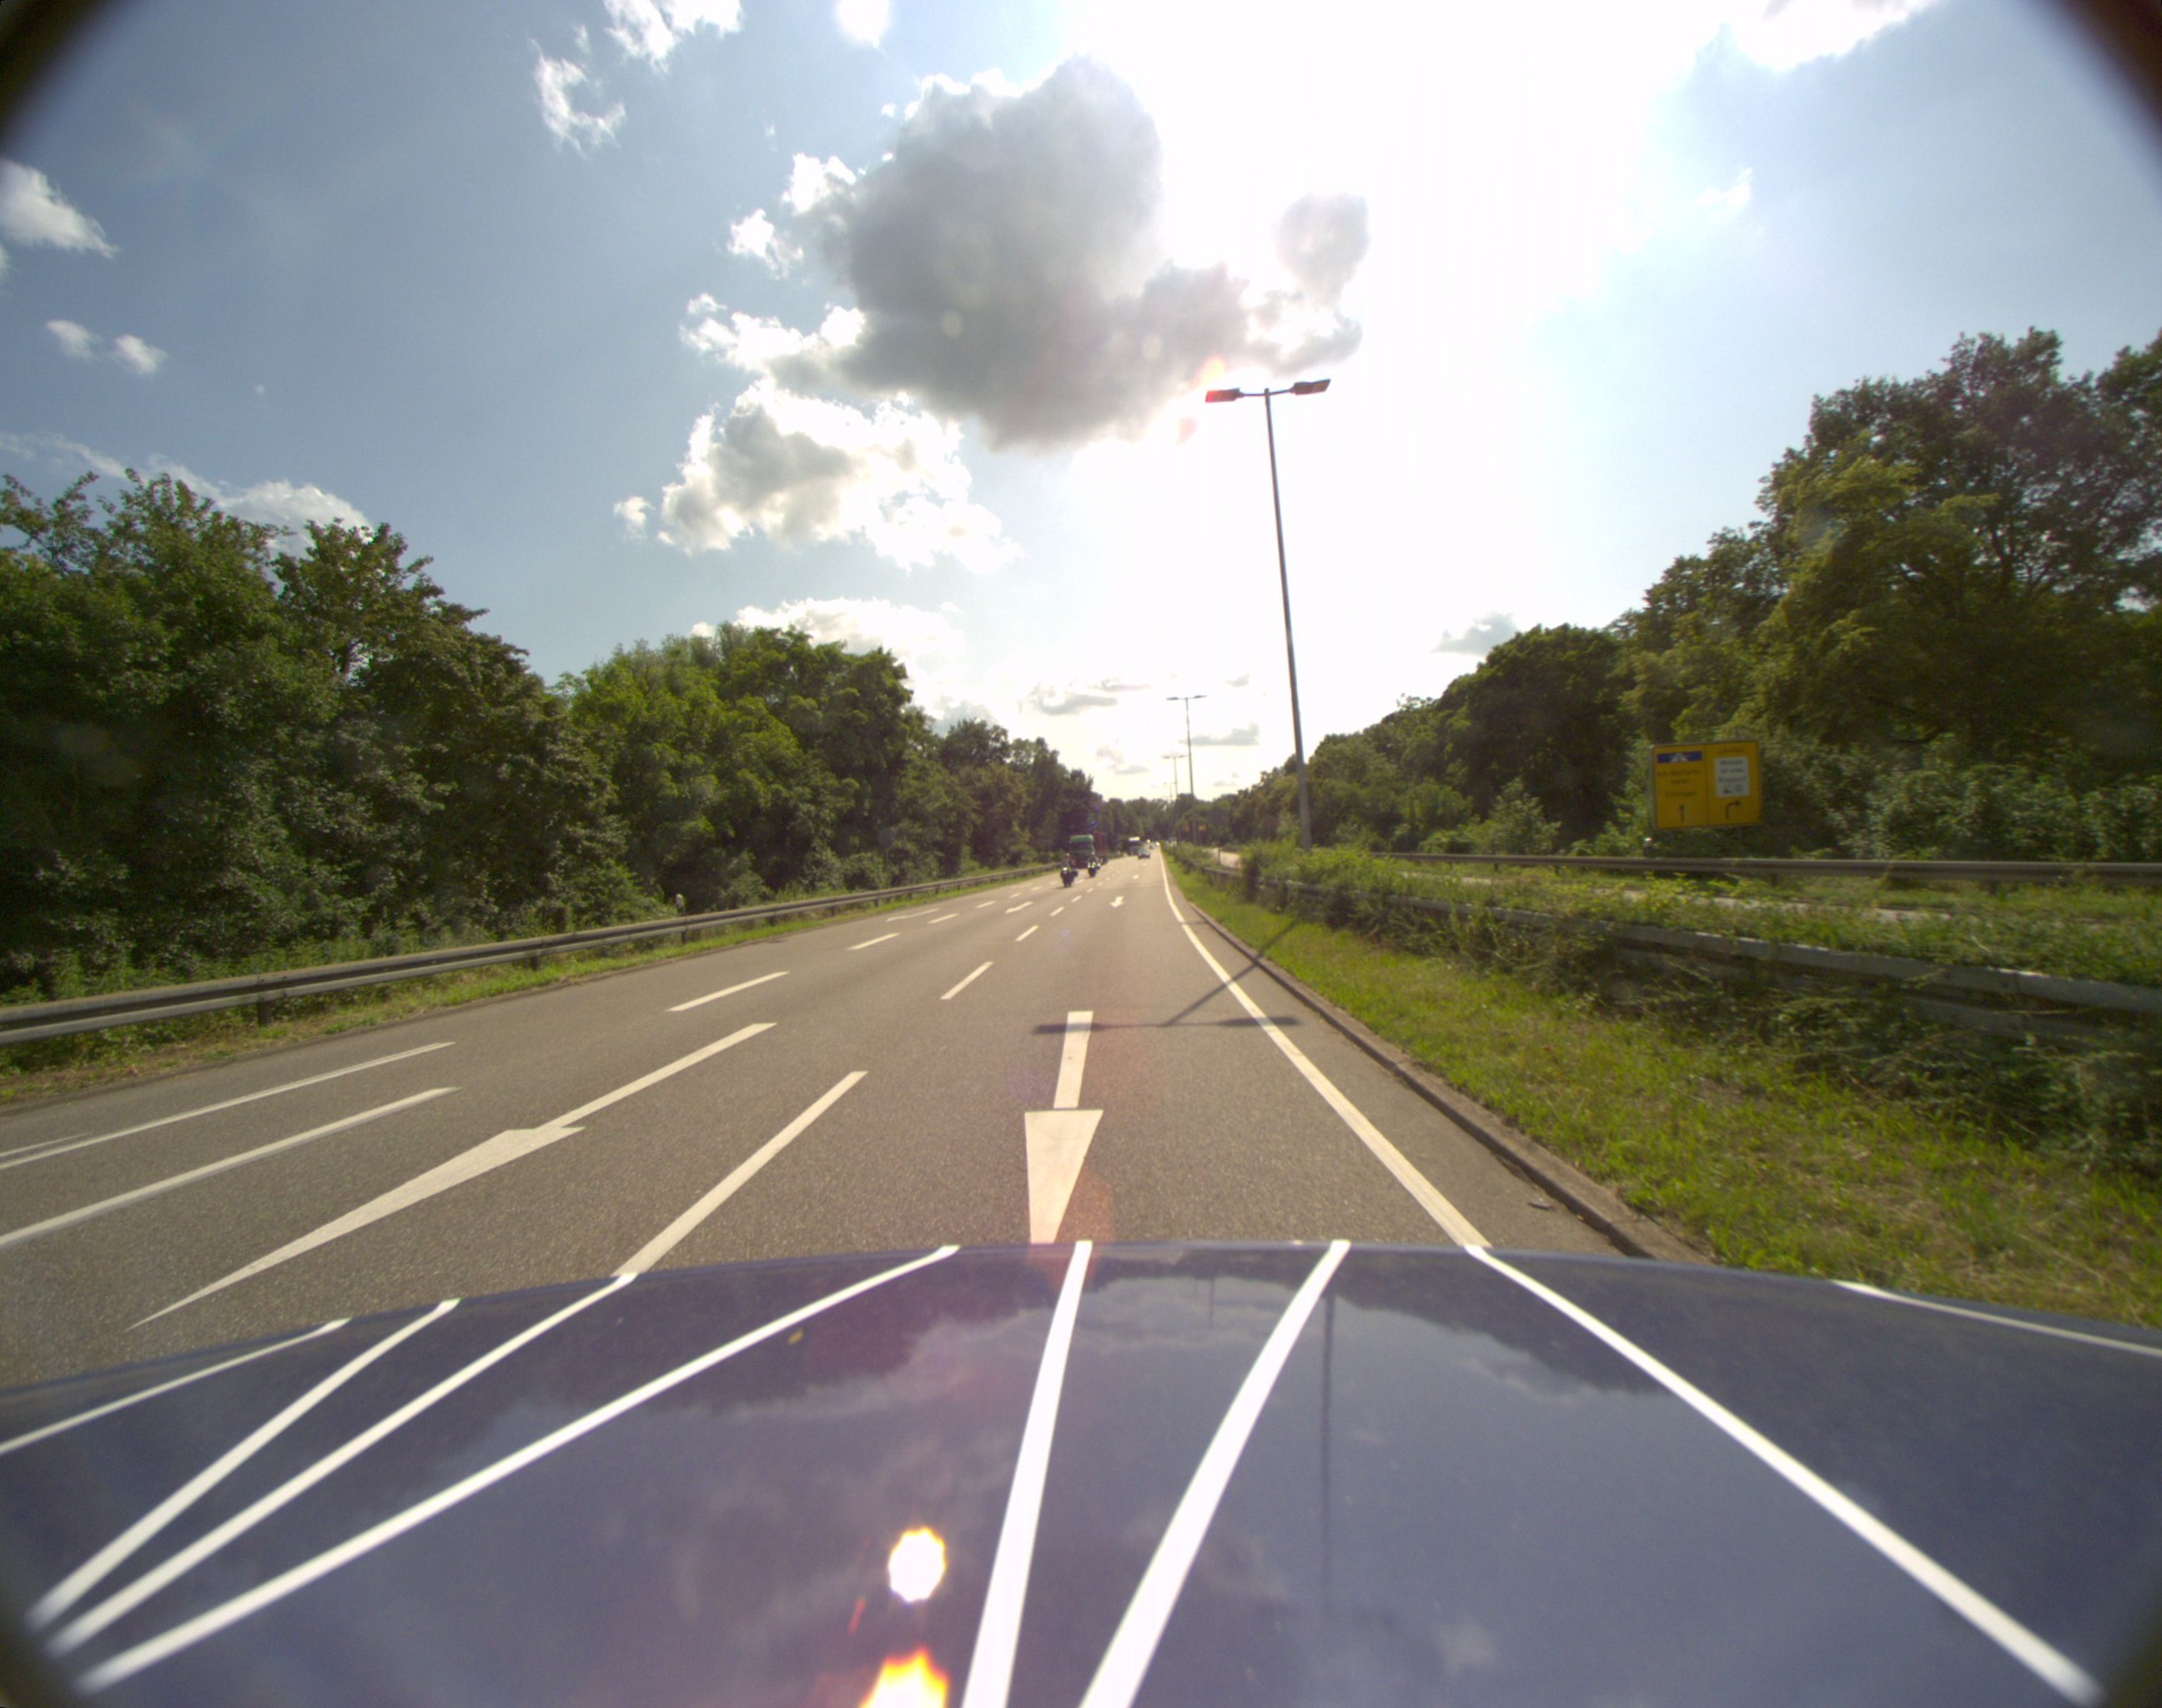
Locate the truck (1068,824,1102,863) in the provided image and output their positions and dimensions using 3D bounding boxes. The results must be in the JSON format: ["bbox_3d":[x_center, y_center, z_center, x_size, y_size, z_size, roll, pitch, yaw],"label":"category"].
[{"bbox_3d":[0.457,-1.117,82.916,2.590,3.871,6.065,-5,0,8],"label":"truck"}]

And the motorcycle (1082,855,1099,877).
[{"bbox_3d":[0.659,0.783,50.649,0.867,1.381,2.371,-3,0,6],"label":"motorcycle"}]

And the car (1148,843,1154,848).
[{"bbox_3d":[23.413,-2.816,252.637,1.796,1.368,4.002,-3,0,7],"label":"car"}]

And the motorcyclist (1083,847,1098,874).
[{"bbox_3d":[0.636,0.429,50.562,0.867,1.690,0.895,-3,0,6],"label":"motorcyclist"}]

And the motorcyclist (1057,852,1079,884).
[{"bbox_3d":[-0.671,0.700,39.072,0.939,1.581,1.083,-3,0,4],"label":"motorcyclist"}]

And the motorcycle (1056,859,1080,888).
[{"bbox_3d":[-0.652,0.967,39.122,0.939,1.375,2.371,-3,0,5],"label":"motorcycle"}]

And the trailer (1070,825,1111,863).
[{"bbox_3d":[1.279,-1.142,88.422,2.590,3.871,14.510,-5,0,8],"label":"trailer"}]

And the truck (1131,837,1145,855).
[{"bbox_3d":[13.005,-1.774,172.651,2.690,3.948,7.386,-5,0,6],"label":"truck"}]

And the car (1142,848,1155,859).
[{"bbox_3d":[9.758,-0.099,110.129,1.735,1.468,4.049,-3,0,7],"label":"car"}]
